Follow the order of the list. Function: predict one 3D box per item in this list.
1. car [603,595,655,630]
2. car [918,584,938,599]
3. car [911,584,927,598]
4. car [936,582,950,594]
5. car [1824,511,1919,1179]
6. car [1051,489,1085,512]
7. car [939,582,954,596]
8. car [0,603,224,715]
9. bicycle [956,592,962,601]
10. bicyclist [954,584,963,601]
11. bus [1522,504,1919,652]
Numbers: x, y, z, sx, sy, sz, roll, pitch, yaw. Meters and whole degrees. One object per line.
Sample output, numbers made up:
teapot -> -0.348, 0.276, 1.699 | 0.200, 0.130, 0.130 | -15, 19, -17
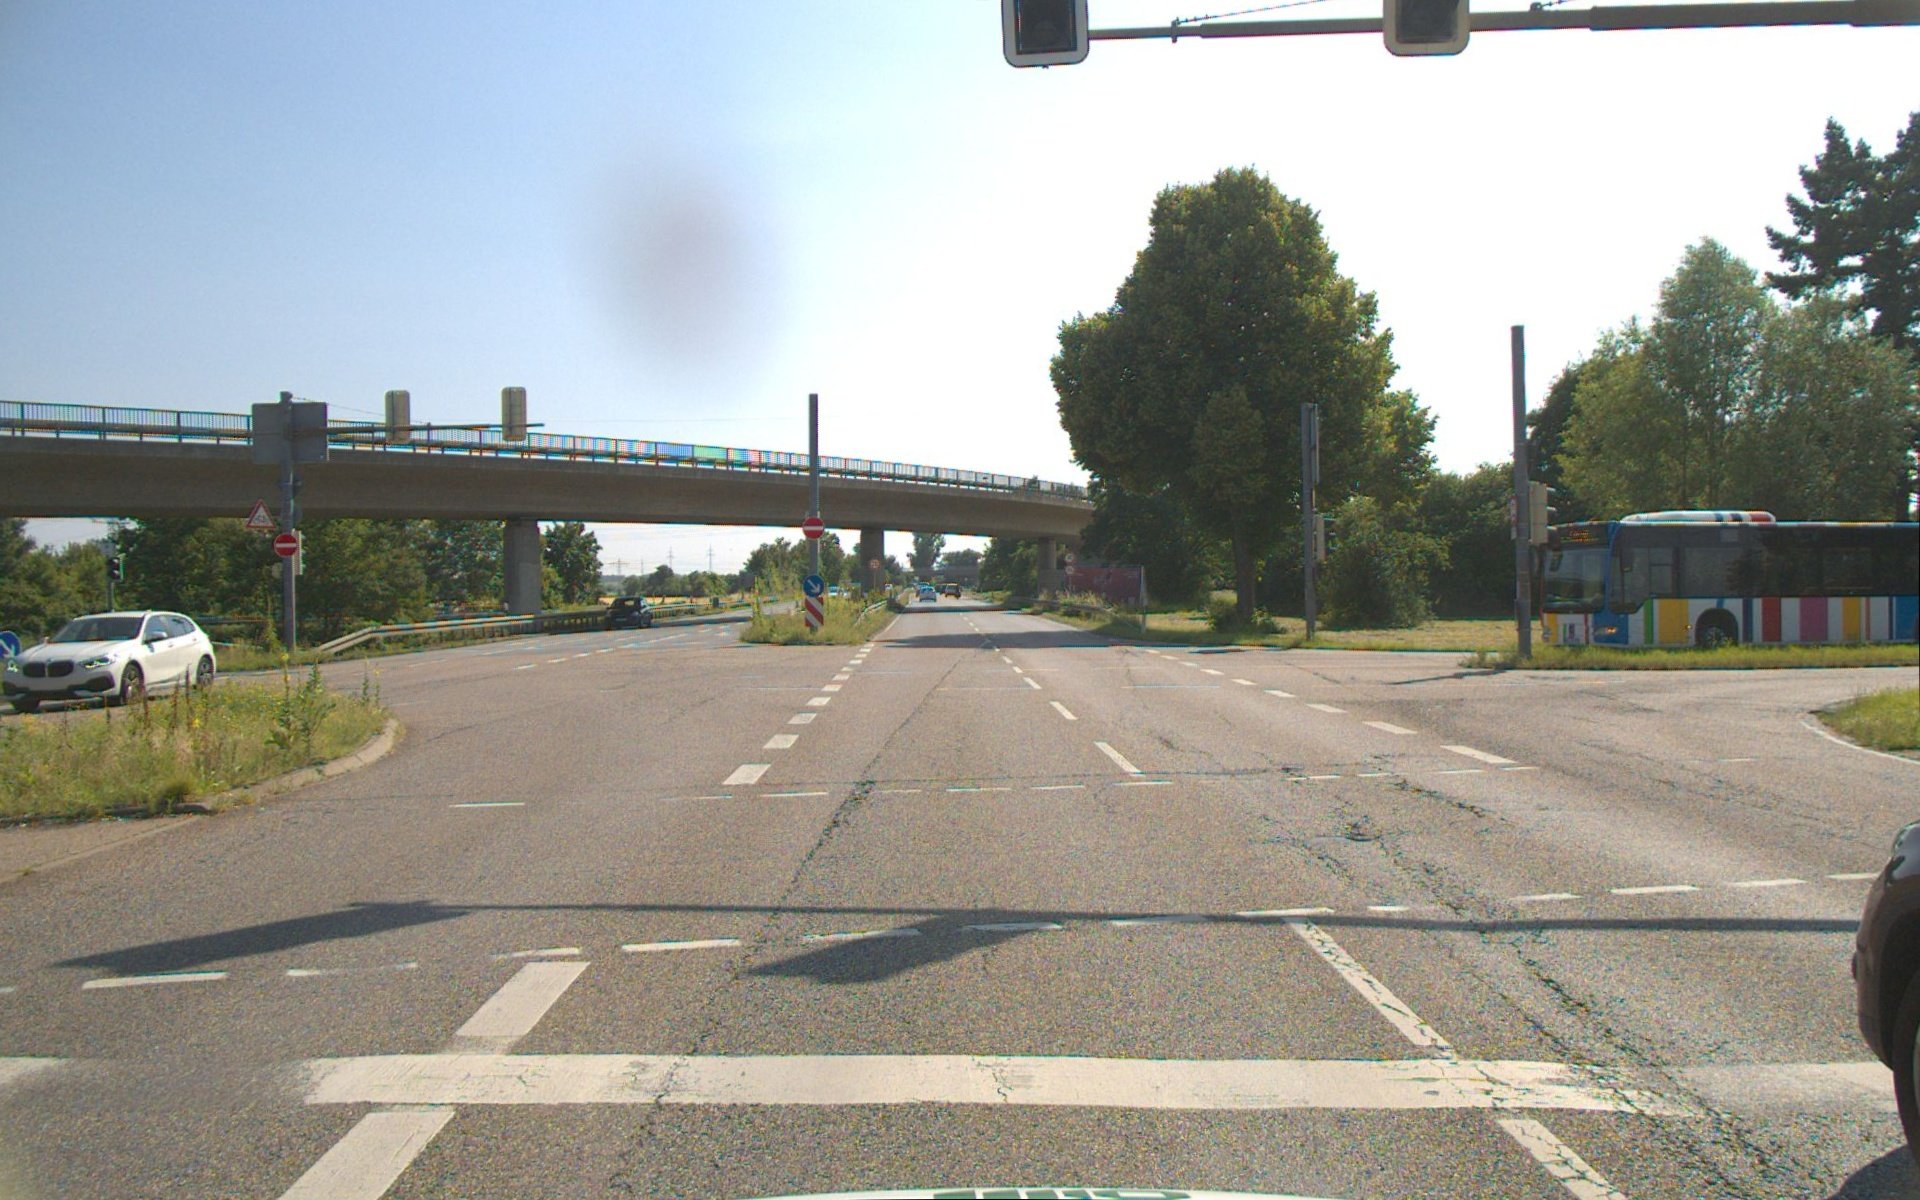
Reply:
car -> -15.149, 0.558, 75.759 | 1.582, 1.467, 3.775 | -3, 0, -1
car -> -3.175, -0.836, 164.218 | 1.813, 1.486, 4.000 | 0, 1, 0
car -> -5.142, -1.128, 207.960 | 1.835, 1.668, 4.000 | 0, 1, 0
car -> -2.559, -1.814, 244.192 | 1.953, 1.660, 3.999 | 1, 0, -1
car -> 3.329, 0.638, 2.567 | 1.720, 1.684, 4.145 | 1, 0, -2
car -> 7.697, -7.061, 117.517 | 1.293, 1.512, 3.195 | -1, 0, 26
car -> -1.745, -1.392, 211.660 | 1.835, 1.668, 4.000 | -1, 1, 0
car -> -13.773, 0.890, 26.824 | 1.845, 1.541, 4.146 | -4, 0, -2
bicycle -> -0.145, -0.360, 187.427 | 0.588, 1.000, 2.360 | -2, 0, -1
bicyclist -> -0.192, -0.821, 187.818 | 0.986, 1.919, 1.327 | -2, 0, -1
bus -> 18.490, -0.570, 36.817 | 11.745, 2.927, 2.929 | -2, 0, -16
